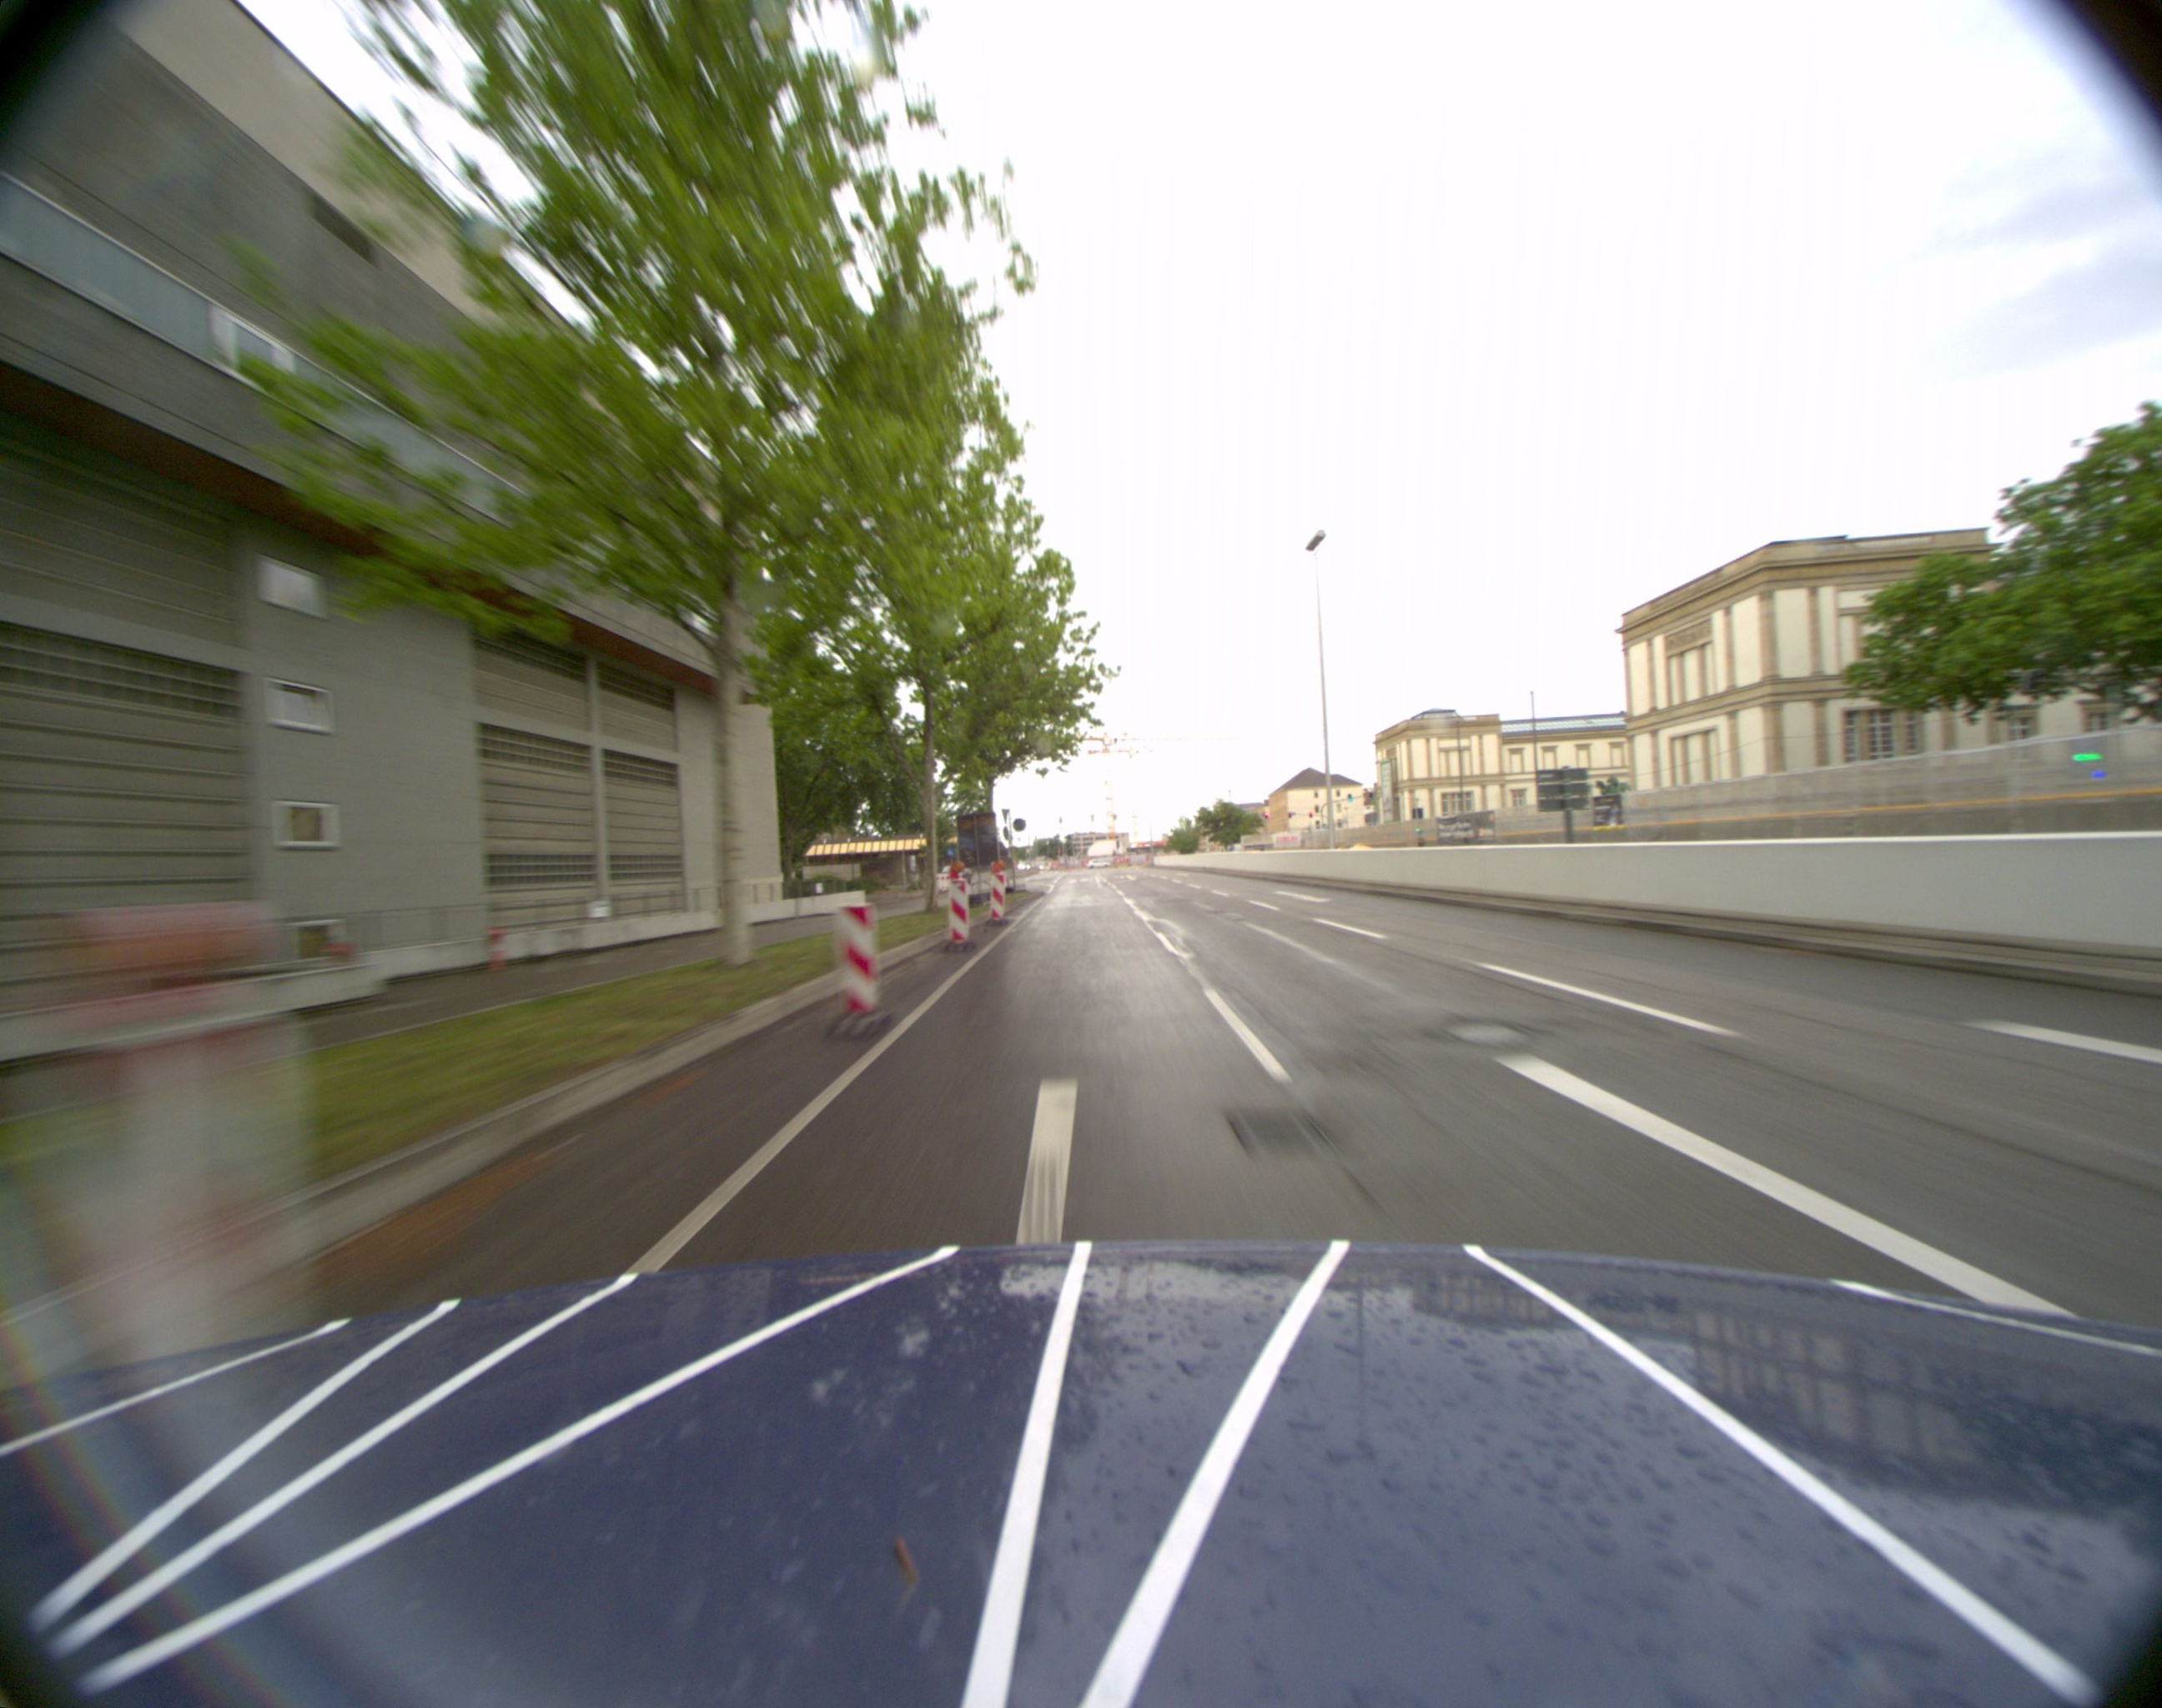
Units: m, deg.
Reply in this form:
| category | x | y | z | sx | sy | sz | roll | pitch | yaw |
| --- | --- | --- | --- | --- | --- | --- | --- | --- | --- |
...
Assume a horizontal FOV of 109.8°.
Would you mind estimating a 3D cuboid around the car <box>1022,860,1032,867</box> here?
| category | x | y | z | sx | sy | sz | roll | pitch | yaw |
| --- | --- | --- | --- | --- | --- | --- | --- | --- | --- |
| car | -13.331 | 2.304 | 187.460 | 2.000 | 1.548 | 4.522 | -5 | 0 | -9 |

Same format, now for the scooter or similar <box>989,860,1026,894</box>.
| category | x | y | z | sx | sy | sz | roll | pitch | yaw |
| --- | --- | --- | --- | --- | --- | --- | --- | --- | --- |
| scooter or similar | -3.181 | 0.994 | 33.092 | 1.359 | 1.278 | 0.619 | -7 | 2 | 2 |
